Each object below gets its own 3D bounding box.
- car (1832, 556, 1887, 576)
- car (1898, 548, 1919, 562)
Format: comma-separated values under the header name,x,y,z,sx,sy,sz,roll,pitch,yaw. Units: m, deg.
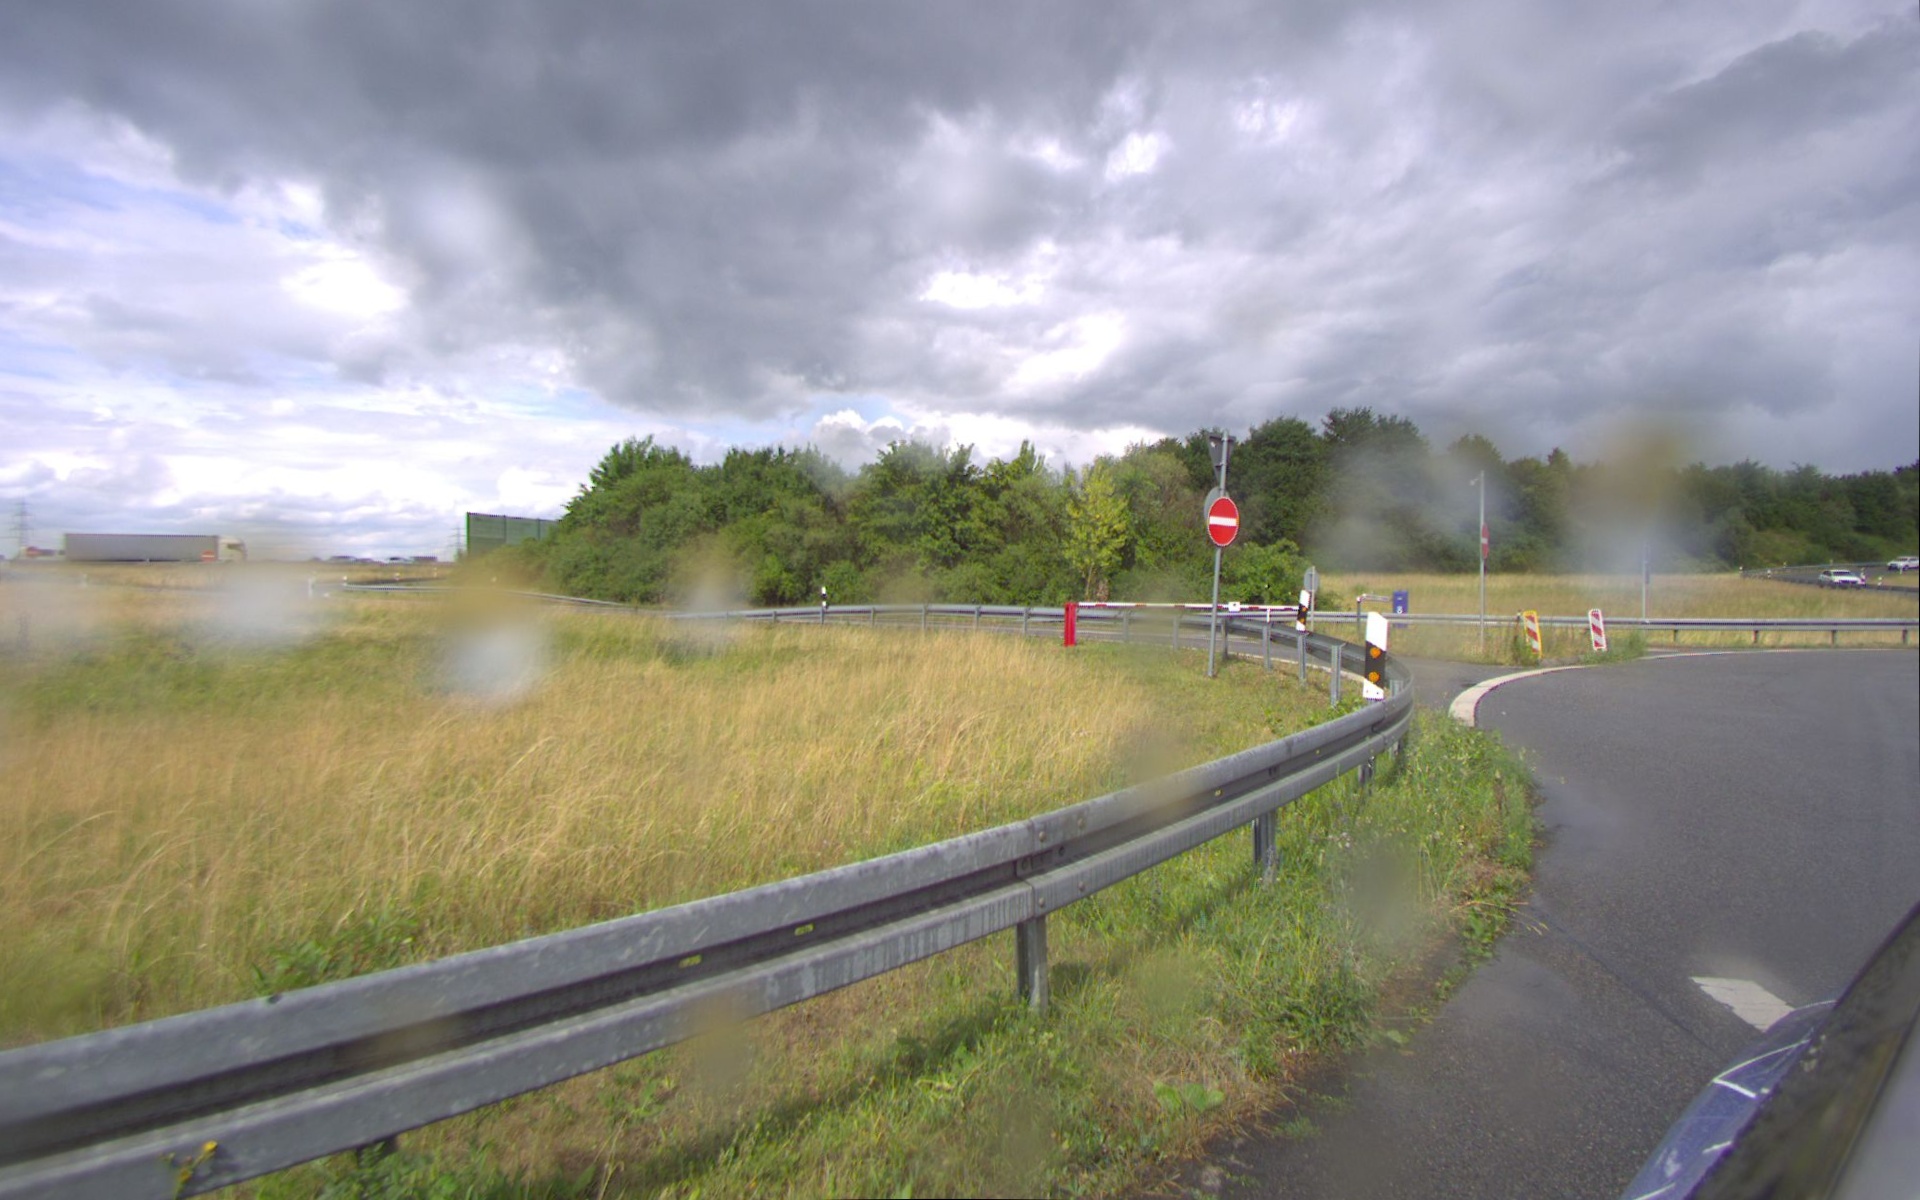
name,x,y,z,sx,sy,sz,roll,pitch,yaw
car,70.453,-2.648,79.252,3.848,1.556,1.980,0,1,-27
car,115.848,-5.422,122.393,3.812,1.664,1.771,-1,0,-17
